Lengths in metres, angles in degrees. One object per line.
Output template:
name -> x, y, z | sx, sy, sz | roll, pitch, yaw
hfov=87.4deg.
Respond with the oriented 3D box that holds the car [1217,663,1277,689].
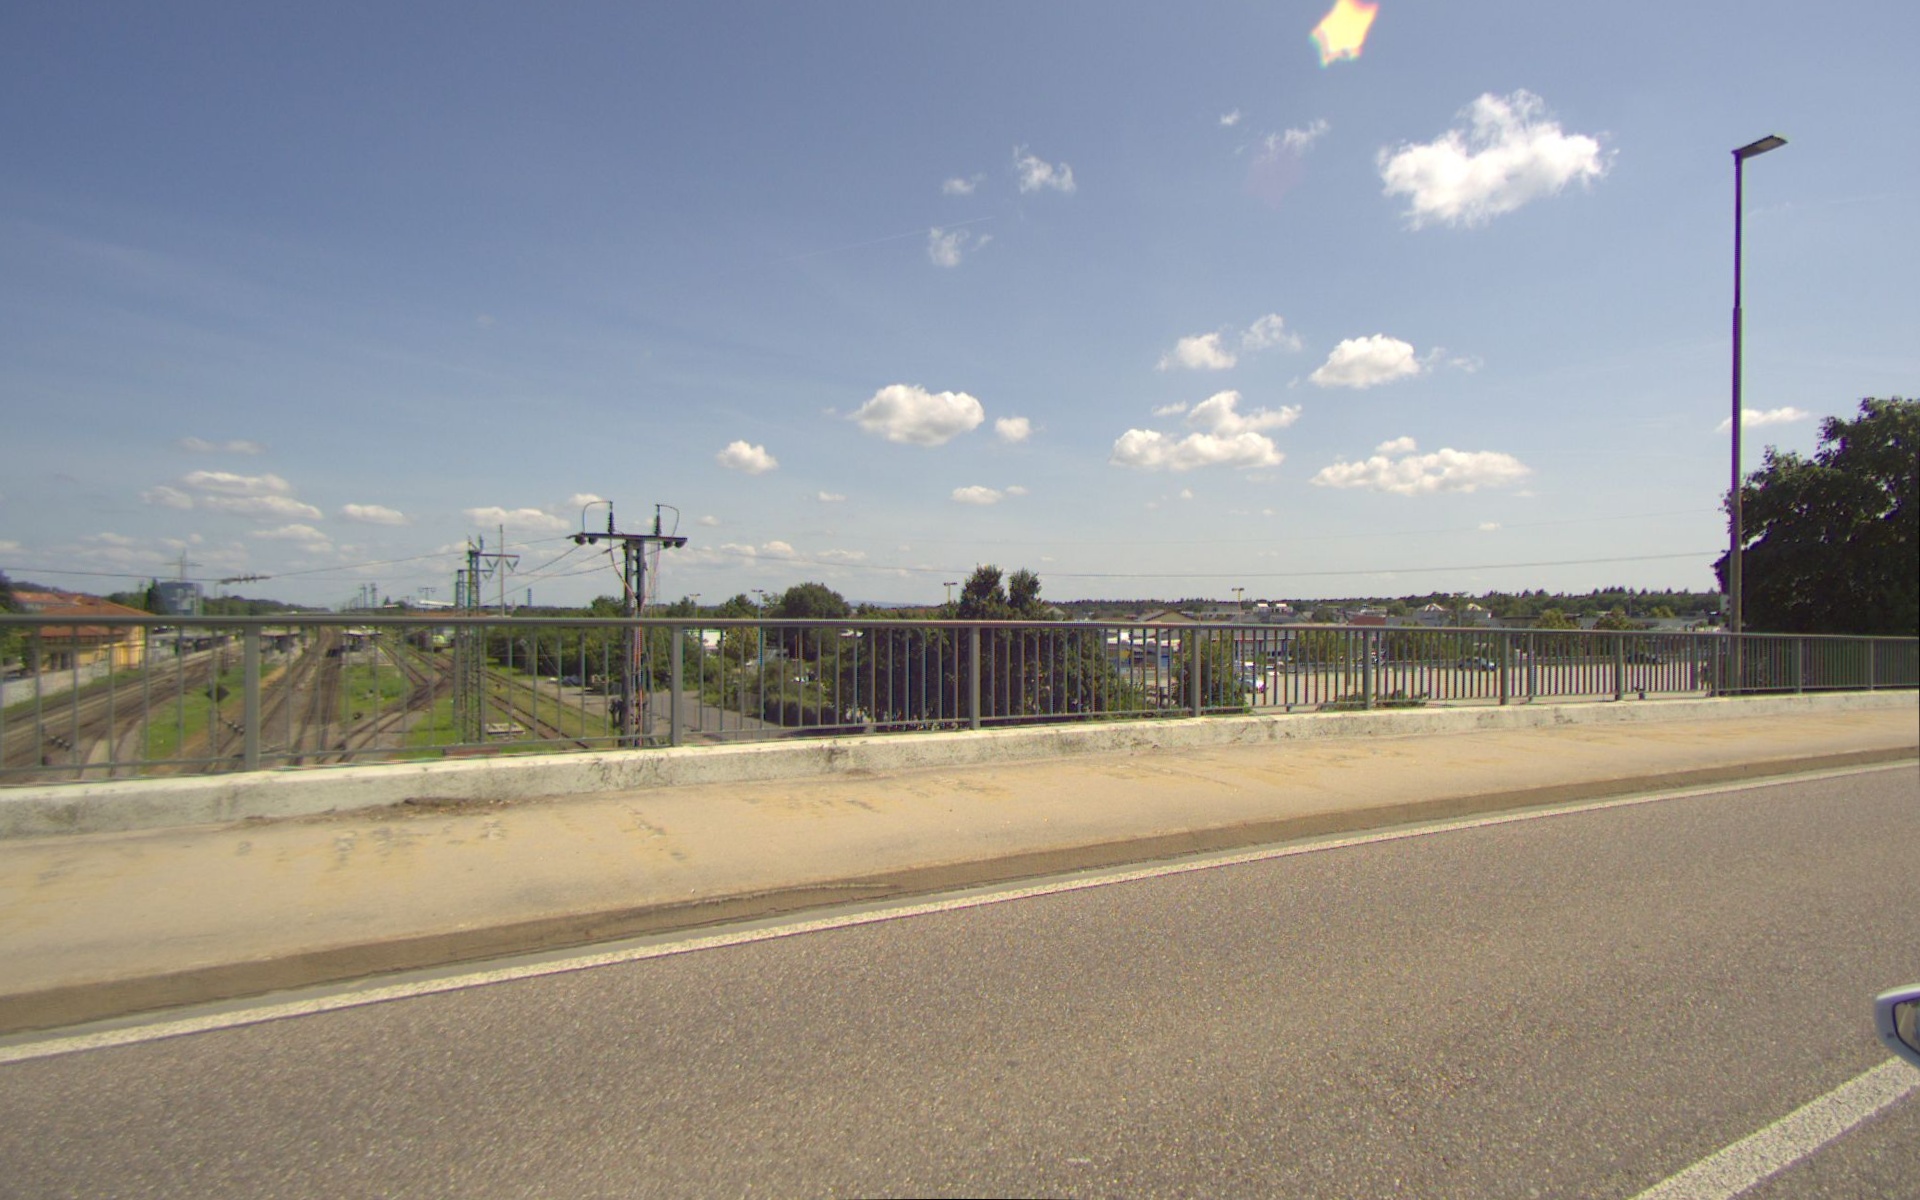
car -> 21.231, 5.620, 74.448 | 1.890, 1.770, 3.959 | 2, -3, -37
